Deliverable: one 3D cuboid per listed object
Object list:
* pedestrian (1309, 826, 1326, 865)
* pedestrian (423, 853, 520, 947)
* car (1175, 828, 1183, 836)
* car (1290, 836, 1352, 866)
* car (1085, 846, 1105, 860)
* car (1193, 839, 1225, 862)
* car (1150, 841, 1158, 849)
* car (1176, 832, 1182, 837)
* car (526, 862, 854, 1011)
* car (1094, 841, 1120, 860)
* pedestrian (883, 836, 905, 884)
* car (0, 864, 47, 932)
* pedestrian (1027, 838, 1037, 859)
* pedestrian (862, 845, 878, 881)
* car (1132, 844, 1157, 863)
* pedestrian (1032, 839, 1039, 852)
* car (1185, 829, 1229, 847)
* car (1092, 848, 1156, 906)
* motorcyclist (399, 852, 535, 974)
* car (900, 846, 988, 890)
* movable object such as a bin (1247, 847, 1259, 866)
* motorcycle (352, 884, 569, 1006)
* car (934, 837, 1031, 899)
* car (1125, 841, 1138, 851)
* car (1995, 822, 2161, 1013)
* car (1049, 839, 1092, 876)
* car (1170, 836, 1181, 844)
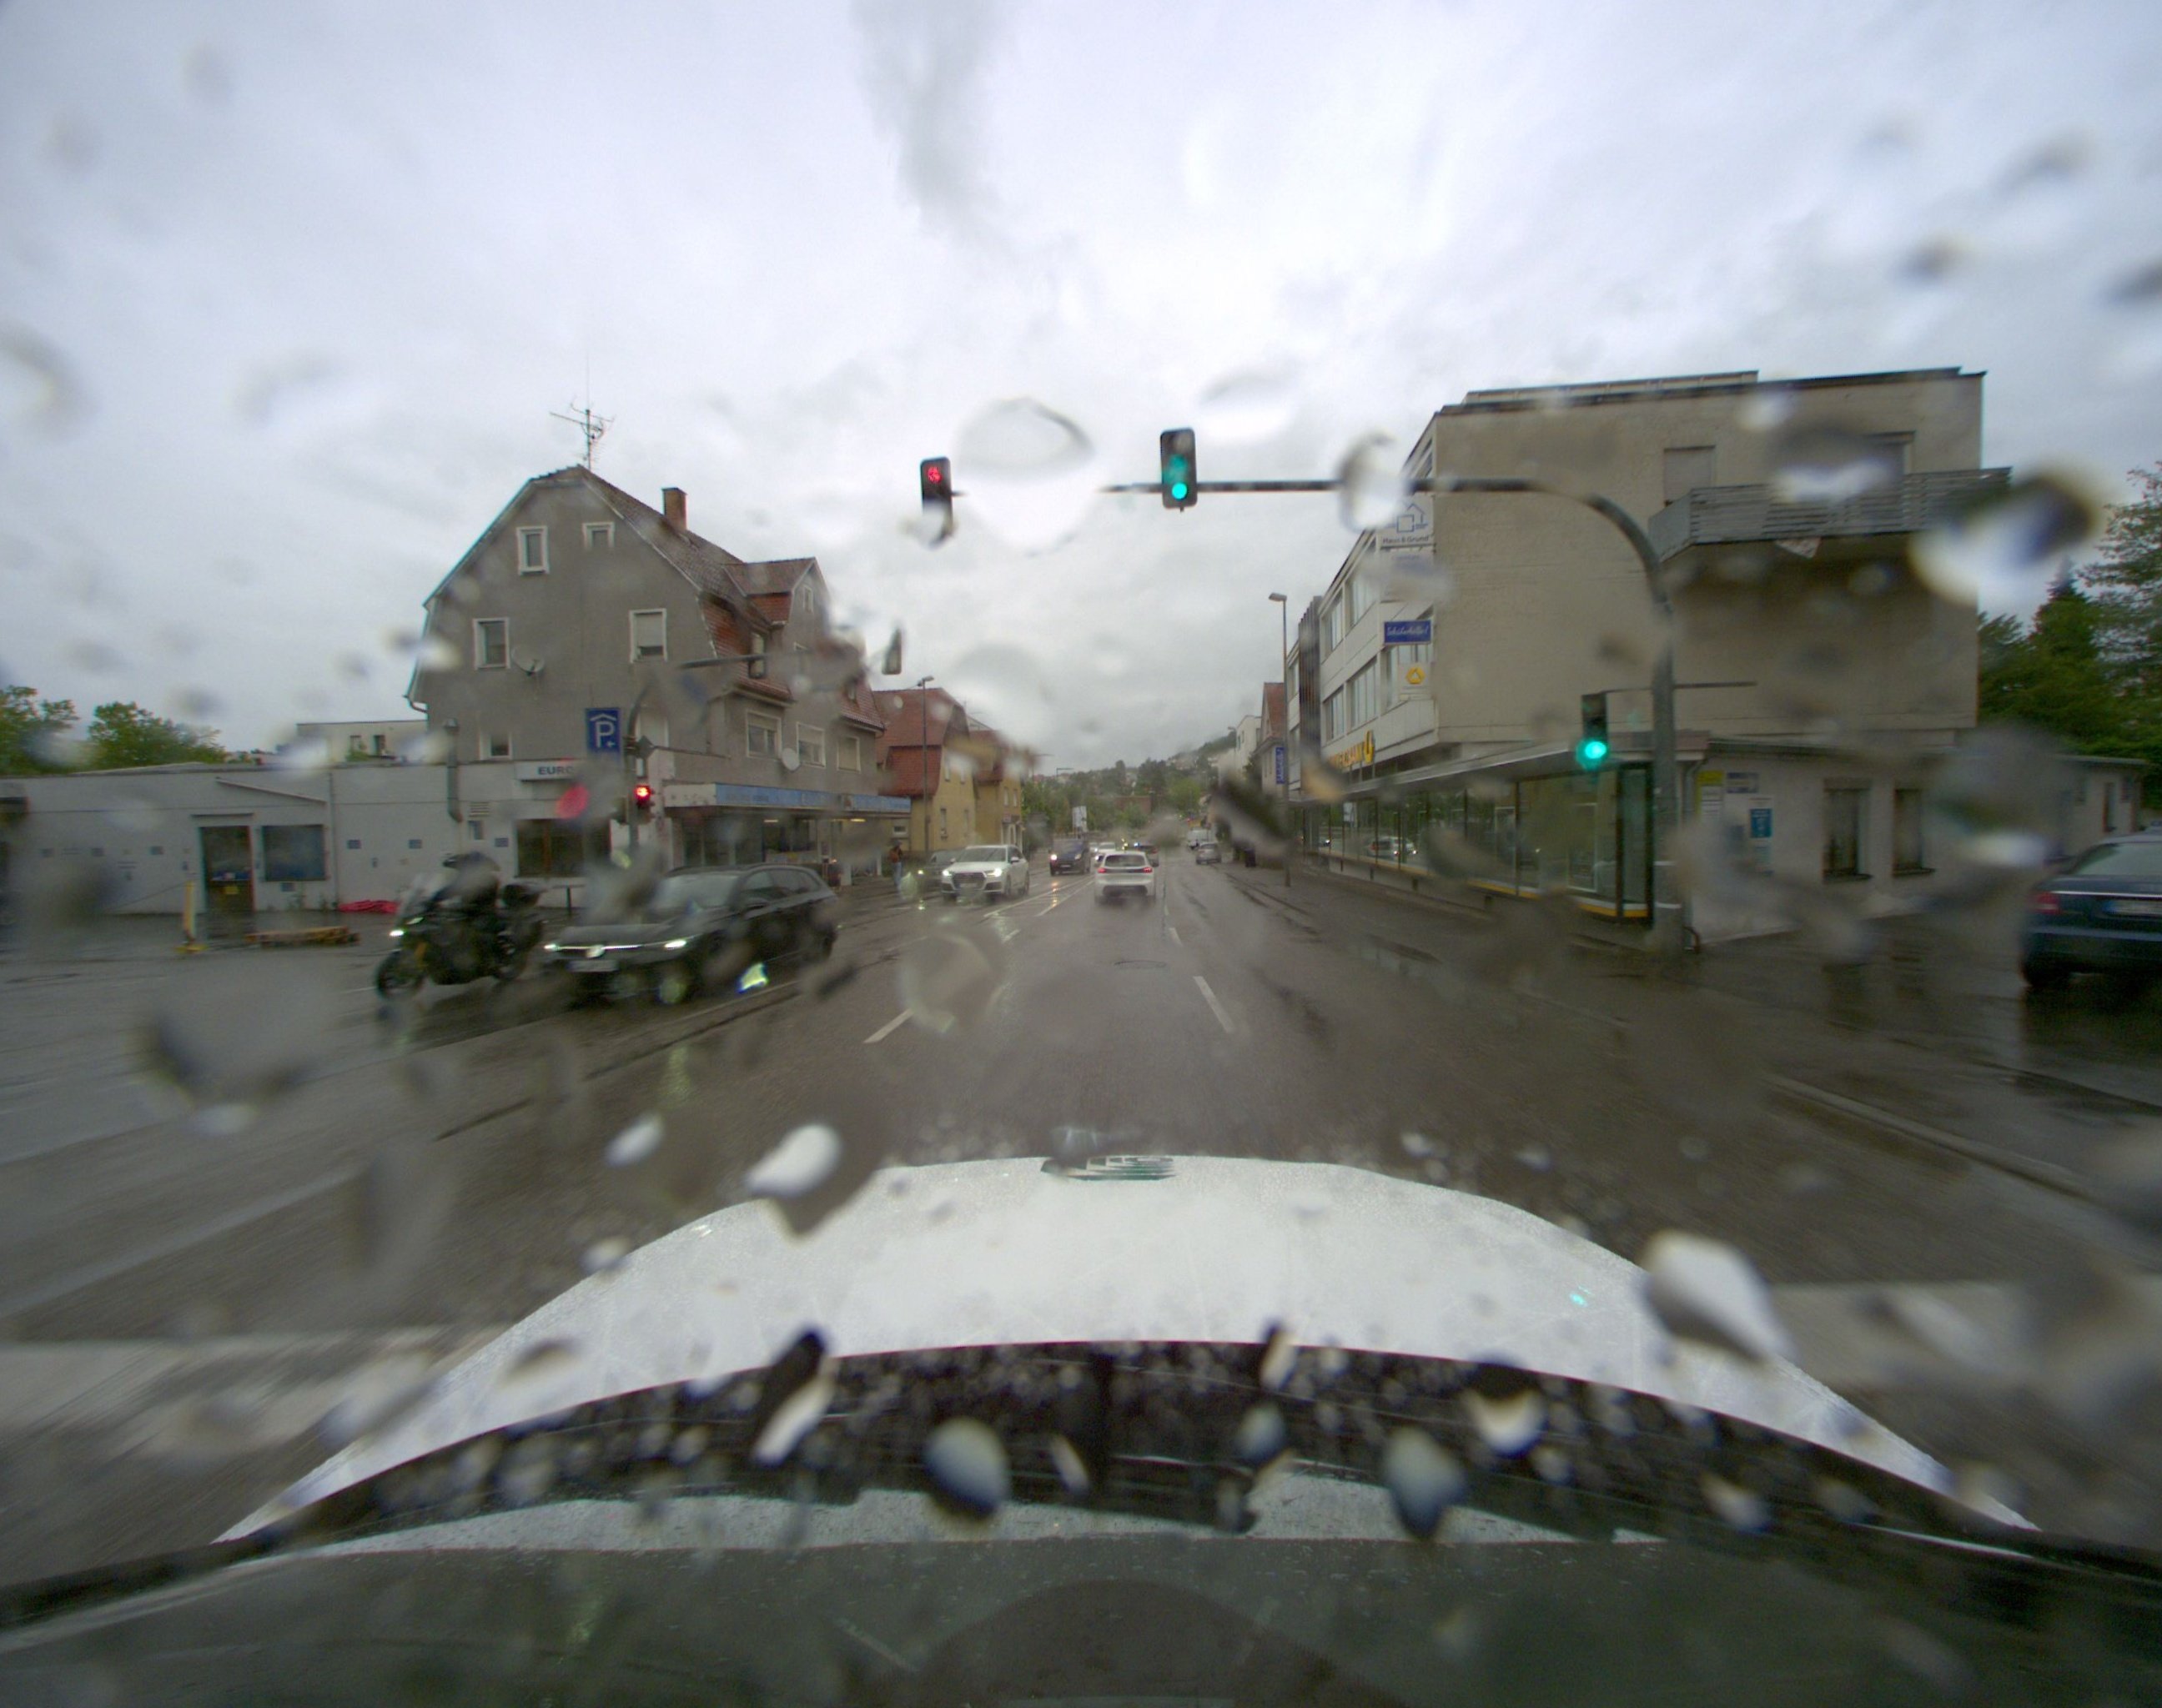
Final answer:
[{"bbox_3d":[11.004,-0.403,37.881,0.724,1.780,0.956,-1,2,13],"label":"pedestrian"},{"bbox_3d":[-12.159,0.886,16.292,0.921,1.788,1.235,-2,0,4],"label":"pedestrian"},{"bbox_3d":[25.631,-5.721,212.489,1.983,2.013,4.007,-2,0,6],"label":"car"},{"bbox_3d":[13.569,-0.152,46.131,1.359,1.502,3.309,-4,1,-29],"label":"car"},{"bbox_3d":[1.518,-0.080,88.538,1.641,1.417,4.146,-4,0,7],"label":"car"},{"bbox_3d":[9.545,-0.208,60.982,2.003,1.622,4.365,0,-1,4],"label":"car"},{"bbox_3d":[11.030,-1.280,123.006,1.207,1.156,2.272,-1,0,4],"label":"car"},{"bbox_3d":[21.967,-4.383,182.462,1.378,1.126,2.614,-2,0,6],"label":"car"},{"bbox_3d":[-4.589,0.859,10.443,1.750,1.434,4.386,-2,0,5],"label":"car"},{"bbox_3d":[2.267,-0.295,70.562,1.869,1.609,4.726,-1,0,5],"label":"car"},{"bbox_3d":[-7.608,0.239,33.185,0.659,1.921,0.946,1,0,-2],"label":"pedestrian"},{"bbox_3d":[-28.970,1.171,19.921,1.740,1.755,4.175,-2,0,10],"label":"car"},{"bbox_3d":[-4.193,-0.446,69.627,0.798,1.788,0.882,-2,0,0],"label":"pedestrian"},{"bbox_3d":[-9.274,0.375,35.785,0.540,1.557,0.447,-1,0,6],"label":"pedestrian"},{"bbox_3d":[4.755,-0.035,60.819,1.733,1.295,3.338,-2,1,4],"label":"car"},{"bbox_3d":[-6.208,-1.214,111.782,0.806,1.738,1.003,-2,0,0],"label":"pedestrian"},{"bbox_3d":[17.468,-2.254,112.807,6.662,2.382,2.270,-1,0,-43],"label":"car"},{"bbox_3d":[1.320,0.628,23.726,1.683,1.519,3.938,-1,0,5],"label":"car"},{"bbox_3d":[-7.754,0.710,10.340,0.781,1.456,1.142,-2,0,6],"label":"motorcyclist"},{"bbox_3d":[-5.468,0.522,33.230,1.989,1.617,4.961,-2,0,9],"label":"car"},{"bbox_3d":[10.196,0.137,48.386,0.573,1.048,0.832,-2,2,5],"label":"movable object such as a bin"},{"bbox_3d":[-7.730,1.079,10.331,0.903,1.283,2.189,-2,0,6],"label":"motorcycle"},{"bbox_3d":[-2.950,0.408,25.566,2.089,1.712,4.854,-2,0,4],"label":"car"},{"bbox_3d":[7.327,-1.150,117.679,1.759,1.413,4.533,-2,0,5],"label":"car"},{"bbox_3d":[10.346,0.445,7.362,4.410,1.411,1.721,-3,1,-27],"label":"car"},{"bbox_3d":[-0.546,0.180,45.877,1.957,1.938,5.185,-2,0,4],"label":"car"},{"bbox_3d":[15.880,-2.387,137.101,1.726,1.388,3.357,0,1,5],"label":"car"}]
